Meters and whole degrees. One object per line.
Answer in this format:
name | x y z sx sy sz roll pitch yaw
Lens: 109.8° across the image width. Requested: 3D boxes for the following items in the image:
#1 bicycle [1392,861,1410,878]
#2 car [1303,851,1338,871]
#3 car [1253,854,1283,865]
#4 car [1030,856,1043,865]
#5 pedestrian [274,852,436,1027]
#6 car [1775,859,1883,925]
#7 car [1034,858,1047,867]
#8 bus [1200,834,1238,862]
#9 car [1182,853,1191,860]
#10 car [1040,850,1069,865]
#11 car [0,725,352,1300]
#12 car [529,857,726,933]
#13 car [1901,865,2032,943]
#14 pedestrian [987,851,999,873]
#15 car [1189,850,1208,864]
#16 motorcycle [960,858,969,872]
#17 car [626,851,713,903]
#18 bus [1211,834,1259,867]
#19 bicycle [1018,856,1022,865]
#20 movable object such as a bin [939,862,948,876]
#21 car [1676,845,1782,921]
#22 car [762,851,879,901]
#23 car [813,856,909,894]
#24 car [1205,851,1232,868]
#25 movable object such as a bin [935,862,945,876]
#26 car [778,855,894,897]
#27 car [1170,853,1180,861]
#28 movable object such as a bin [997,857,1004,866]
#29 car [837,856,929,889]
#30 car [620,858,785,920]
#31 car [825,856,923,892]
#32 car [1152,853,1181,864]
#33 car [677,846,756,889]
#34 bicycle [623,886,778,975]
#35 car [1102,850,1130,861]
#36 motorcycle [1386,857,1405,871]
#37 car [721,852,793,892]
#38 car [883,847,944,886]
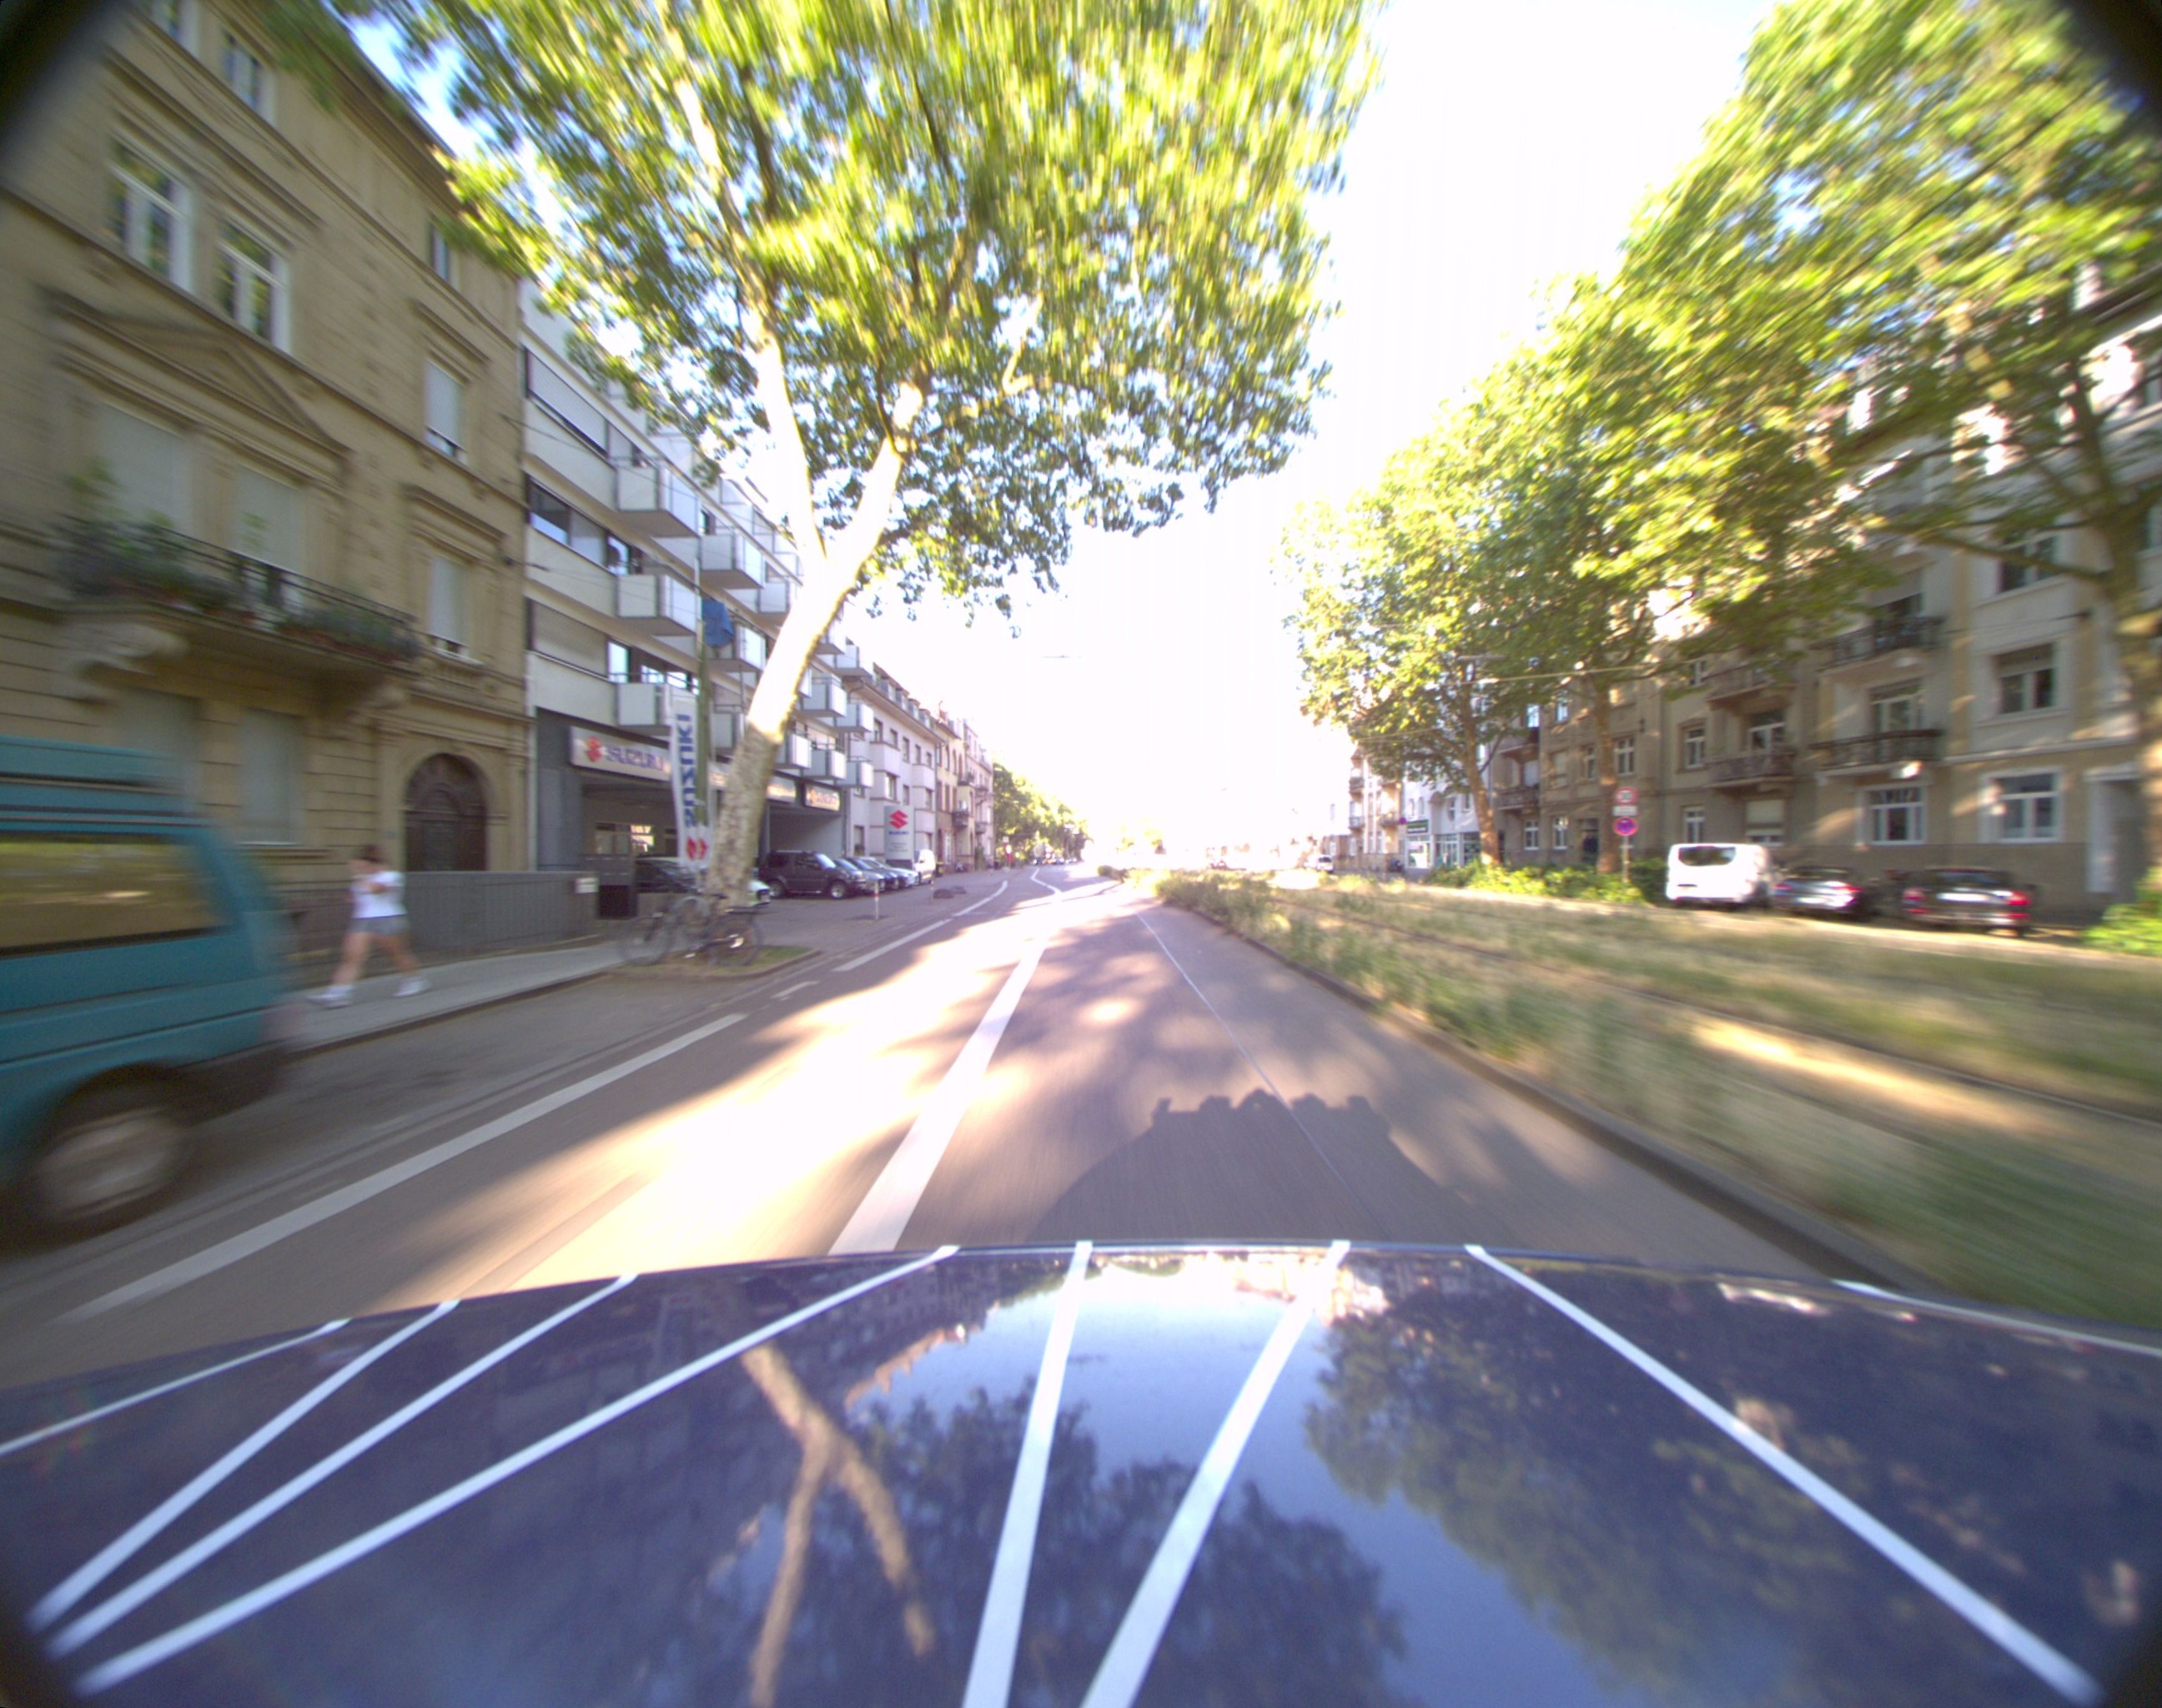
bicycle | 22.290 1.080 52.978 0.758 1.027 1.896 -6 0 14
car | 22.282 0.614 70.868 1.908 1.776 4.653 0 1 2
car | 27.219 0.776 110.493 4.051 1.517 1.782 0 1 7
car | -8.273 1.217 141.143 1.877 1.587 4.001 -1 0 5
pedestrian | -7.175 0.803 7.559 0.665 1.619 0.922 0 2 0
car | 19.601 0.902 19.865 4.185 1.482 1.717 -1 1 -41
car | -7.286 1.518 136.379 1.877 1.587 4.001 -1 0 5
bus | 17.416 -0.809 96.526 3.273 3.355 9.898 0 1 2
car | 21.472 0.559 155.356 1.735 1.471 3.816 0 0 6
car | -3.822 0.497 110.567 3.995 2.002 2.001 0 1 7
car | -5.223 0.651 1.747 1.999 2.244 5.233 0 1 0
car | -9.889 0.863 16.744 3.427 1.538 1.442 -1 1 -2
car | 19.276 1.003 16.617 3.736 1.414 1.717 -1 1 -41
pedestrian | -7.402 0.635 63.887 0.831 1.802 1.150 0 2 -1
car | 14.649 0.331 94.854 1.934 1.674 4.000 0 1 4
motorcycle | -10.499 0.968 68.458 0.591 1.131 2.504 -1 1 -3
car | -14.201 0.732 26.152 3.590 1.647 1.621 0 1 44
bus | 17.172 -0.484 85.561 3.262 3.355 11.975 0 1 1
bicycle | -7.330 0.801 91.400 0.438 1.092 1.931 -1 0 -3
movable object such as a bin | -9.965 1.097 55.112 0.555 0.964 0.585 0 2 2
car | 19.710 0.769 23.009 5.257 2.054 1.717 -1 1 -41
car | -9.282 0.778 27.277 3.589 1.709 1.682 0 -1 3
car | -9.099 0.852 31.567 3.426 1.516 1.741 0 1 3
car | 12.833 0.516 71.154 1.720 1.477 4.699 2 0 0
movable object such as a bin | -9.994 1.068 54.016 0.555 0.964 0.585 0 2 2
car | -9.391 0.818 29.340 3.829 1.532 1.859 0 1 -1
car | 22.700 0.644 183.527 1.919 1.889 4.309 0 1 2
movable object such as a bin | -9.064 0.864 85.566 0.657 1.040 0.659 0 2 13
car | -9.359 0.855 36.174 3.820 1.492 1.914 -1 -1 1
car | -9.864 0.884 19.979 3.426 1.510 1.757 0 1 3
car | -9.161 0.867 33.863 3.879 1.505 1.809 0 0 -1
car | 12.467 0.661 110.867 4.124 1.565 1.716 0 1 6
car | -14.151 0.495 29.429 3.516 1.554 1.613 0 1 44
bicycle | -5.150 1.022 10.340 1.850 1.137 0.348 -1 2 -6
car | 5.260 0.205 114.691 4.000 1.696 1.834 -1 1 -8
motorcycle | 25.904 0.812 62.695 0.529 1.015 2.420 -3 0 0
car | -13.426 0.694 31.431 3.339 1.554 1.508 0 1 44
car | -8.920 0.619 40.948 1.897 1.937 4.901 0 1 3
